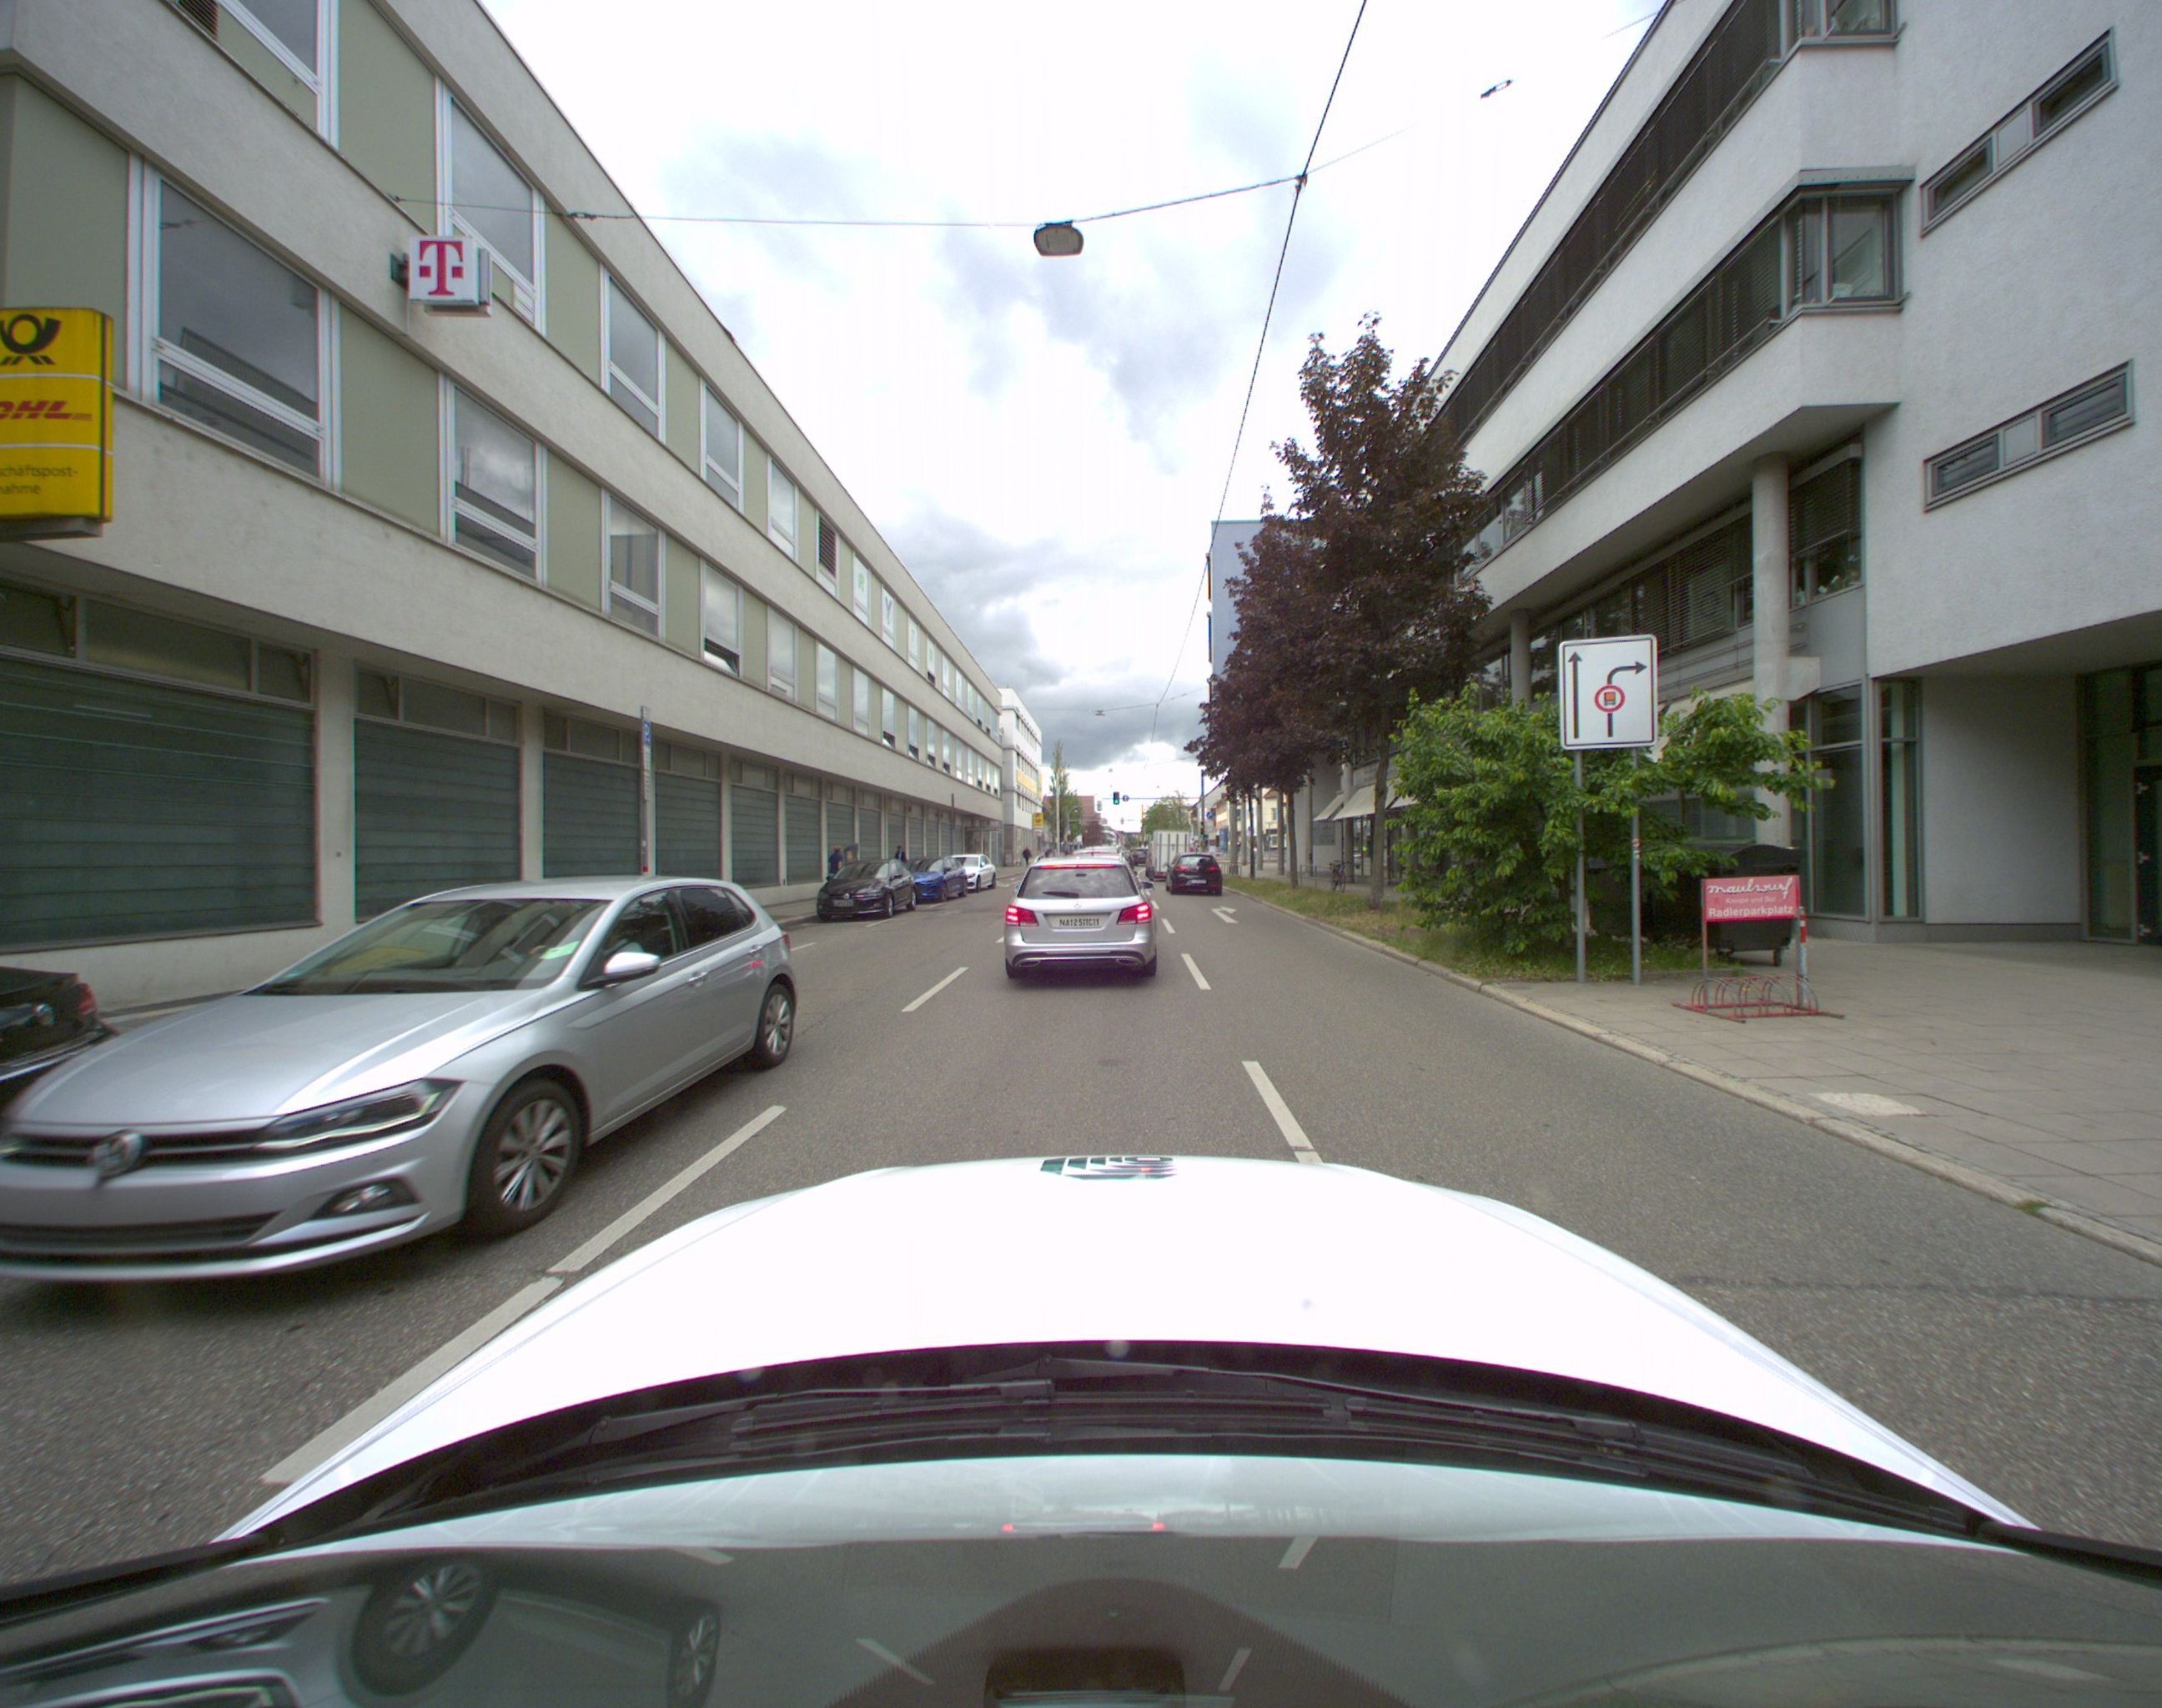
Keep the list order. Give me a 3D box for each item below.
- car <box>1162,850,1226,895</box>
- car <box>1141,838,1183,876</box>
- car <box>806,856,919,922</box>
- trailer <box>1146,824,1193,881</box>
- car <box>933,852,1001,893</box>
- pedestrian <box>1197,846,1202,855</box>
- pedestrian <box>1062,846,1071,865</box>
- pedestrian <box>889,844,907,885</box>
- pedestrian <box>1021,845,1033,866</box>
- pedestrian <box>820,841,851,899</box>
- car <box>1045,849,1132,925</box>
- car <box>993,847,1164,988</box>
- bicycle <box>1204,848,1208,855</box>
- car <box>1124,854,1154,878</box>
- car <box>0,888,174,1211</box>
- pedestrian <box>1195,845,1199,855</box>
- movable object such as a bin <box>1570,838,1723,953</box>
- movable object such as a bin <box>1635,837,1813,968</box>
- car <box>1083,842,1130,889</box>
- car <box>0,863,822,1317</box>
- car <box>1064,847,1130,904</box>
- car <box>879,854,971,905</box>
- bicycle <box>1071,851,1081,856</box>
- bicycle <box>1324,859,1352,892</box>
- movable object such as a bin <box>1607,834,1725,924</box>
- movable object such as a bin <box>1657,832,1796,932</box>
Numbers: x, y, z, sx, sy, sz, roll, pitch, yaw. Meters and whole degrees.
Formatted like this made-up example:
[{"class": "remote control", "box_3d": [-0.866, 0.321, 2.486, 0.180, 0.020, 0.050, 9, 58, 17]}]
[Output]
[{"class": "car", "box_3d": [3.901, 0.592, 28.679, 1.728, 1.410, 4.001, -1, 1, 1]}, {"class": "car", "box_3d": [4.408, 0.123, 45.102, 1.871, 1.945, 4.907, 2, 0, 1]}, {"class": "car", "box_3d": [-5.434, 0.806, 20.758, 1.710, 1.425, 3.871, -2, 0, 1]}, {"class": "trailer", "box_3d": [4.319, -0.093, 40.499, 1.871, 2.613, 4.324, 2, 0, 1]}, {"class": "car", "box_3d": [-4.455, 0.695, 32.573, 1.662, 1.433, 4.559, -2, 0, 5]}, {"class": "pedestrian", "box_3d": [18.967, -0.520, 130.178, 0.576, 1.469, 0.650, 1, 0, -2]}, {"class": "pedestrian", "box_3d": [-1.315, 0.172, 74.806, 0.643, 1.718, 0.785, 1, 0, 10]}, {"class": "pedestrian", "box_3d": [-7.790, 0.444, 34.673, 0.587, 1.718, 0.650, -1, 0, 1]}, {"class": "pedestrian", "box_3d": [-4.393, 0.144, 66.679, 0.858, 1.718, 1.032, 1, 0, 1]}, {"class": "pedestrian", "box_3d": [-7.444, 0.476, 24.752, 0.587, 1.718, 1.055, -1, 0, 1]}, {"class": "car", "box_3d": [0.267, 0.648, 18.141, 1.727, 1.508, 4.004, 0, 0, 3]}, {"class": "car", "box_3d": [0.015, 0.679, 10.970, 1.839, 1.508, 4.172, -1, 0, 1]}, {"class": "bicycle", "box_3d": [20.239, -0.394, 131.372, 0.446, 1.107, 2.151, -1, 0, 4]}, {"class": "car", "box_3d": [3.657, 0.734, 52.054, 1.728, 1.410, 4.001, -1, 1, 1]}, {"class": "car", "box_3d": [-7.139, 0.921, 3.195, 4.465, 1.398, 1.642, 0, 0, -28]}, {"class": "pedestrian", "box_3d": [18.970, -0.677, 133.006, 0.576, 1.666, 0.651, 0, 0, 1]}, {"class": "movable object such as a bin", "box_3d": [7.825, 0.536, 11.362, 1.123, 1.465, 1.413, -2, 0, 1]}, {"class": "movable object such as a bin", "box_3d": [7.815, 0.554, 9.990, 1.094, 1.465, 1.333, -2, 0, 1]}, {"class": "car", "box_3d": [1.010, 0.419, 32.526, 1.728, 1.759, 4.001, -1, 0, 1]}, {"class": "car", "box_3d": [-3.124, 0.836, 4.788, 1.793, 1.417, 4.001, -3, 0, 1]}, {"class": "car", "box_3d": [0.465, 0.553, 23.652, 1.728, 1.508, 4.001, -1, 0, 1]}, {"class": "car", "box_3d": [-4.989, 0.758, 26.601, 1.806, 1.425, 4.270, -2, 0, 5]}, {"class": "bicycle", "box_3d": [-0.965, -0.081, 157.754, 1.935, 1.029, 0.529, 0, 0, -7]}, {"class": "bicycle", "box_3d": [8.860, 0.726, 28.093, 0.359, 1.086, 2.028, 0, 0, 1]}, {"class": "movable object such as a bin", "box_3d": [10.172, 0.419, 14.230, 1.094, 1.465, 1.333, -2, 0, 1]}, {"class": "movable object such as a bin", "box_3d": [10.146, 0.420, 12.868, 1.118, 1.465, 1.333, -2, 0, 1]}]
